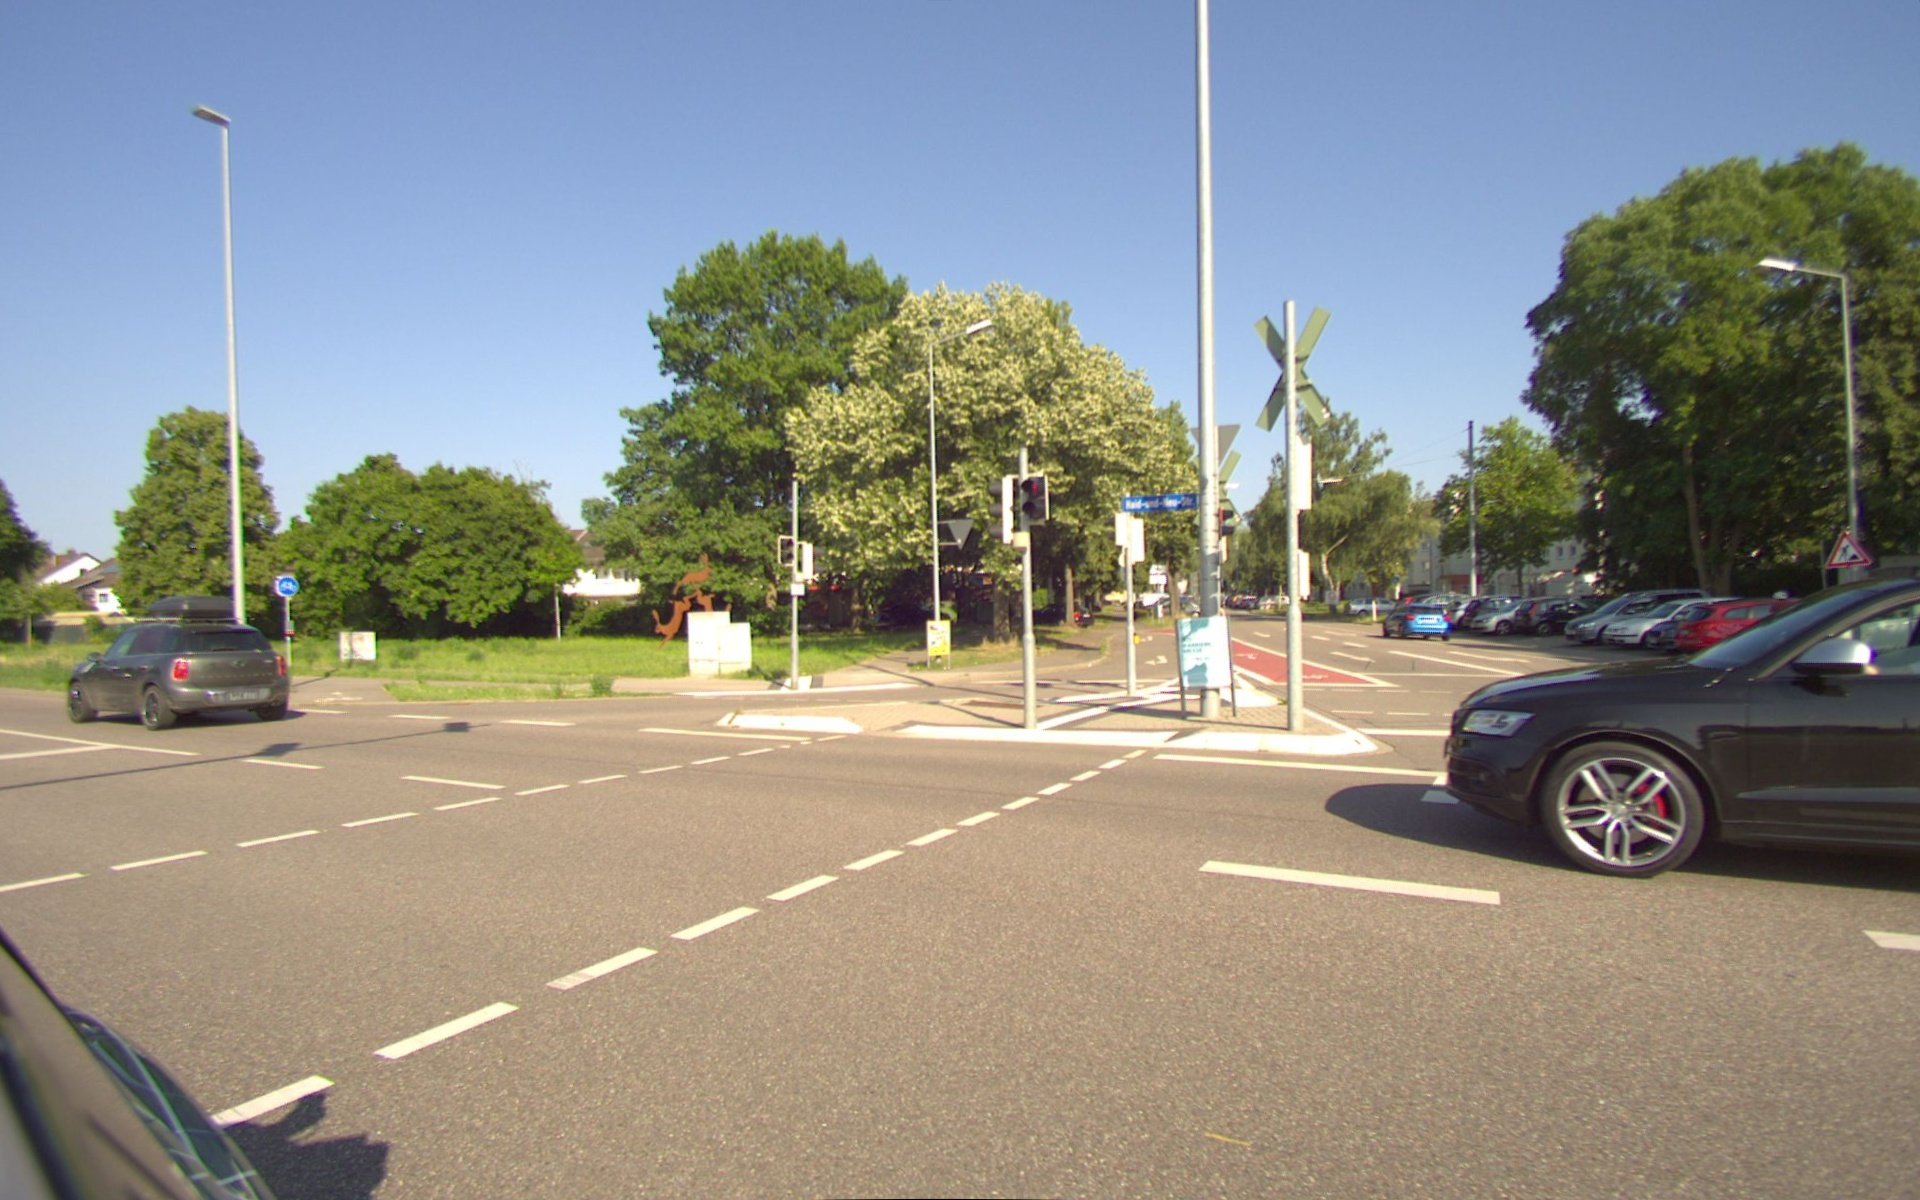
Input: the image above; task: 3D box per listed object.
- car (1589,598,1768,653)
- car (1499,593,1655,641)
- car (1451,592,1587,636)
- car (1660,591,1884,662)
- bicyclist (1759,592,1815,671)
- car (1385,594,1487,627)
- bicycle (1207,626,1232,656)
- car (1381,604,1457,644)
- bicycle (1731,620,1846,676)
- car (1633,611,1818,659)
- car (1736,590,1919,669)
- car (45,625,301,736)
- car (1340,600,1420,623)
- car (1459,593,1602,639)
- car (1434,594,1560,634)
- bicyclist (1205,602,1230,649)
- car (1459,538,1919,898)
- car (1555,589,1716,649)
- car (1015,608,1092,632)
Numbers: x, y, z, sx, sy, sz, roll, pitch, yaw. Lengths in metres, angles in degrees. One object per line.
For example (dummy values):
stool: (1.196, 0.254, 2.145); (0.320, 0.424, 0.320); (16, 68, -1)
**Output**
car: (21.647, 0.749, 30.642); (3.958, 1.532, 1.779); (-2, 0, 12)
car: (24.006, 0.664, 39.510); (4.760, 1.488, 1.780); (-4, -1, 10)
car: (24.360, 0.609, 44.262); (4.761, 1.488, 1.780); (-5, -1, 10)
car: (20.666, 0.679, 25.947); (3.962, 1.426, 1.777); (-5, -1, 14)
bicyclist: (16.806, 0.630, 20.577); (0.601, 1.572, 0.602); (-1, -1, 1)
car: (26.699, 0.606, 56.848); (4.760, 1.488, 1.780); (-4, -1, 10)
bicycle: (8.804, 1.383, 34.374); (0.647, 0.910, 1.804); (-2, 0, 9)
car: (18.029, 0.914, 39.930); (1.766, 1.425, 4.230); (-1, 0, 11)
bicycle: (16.808, 0.944, 20.604); (0.613, 1.048, 2.071); (-1, 0, 1)
car: (21.049, 0.969, 27.977); (3.749, 1.202, 1.459); (-2, 0, 13)
car: (20.294, 0.636, 22.783); (3.960, 1.450, 1.778); (-5, -1, 13)
car: (-12.506, 1.207, 16.049); (3.982, 1.532, 1.777); (-2, -1, 28)
car: (28.642, 0.777, 69.166); (4.767, 1.488, 1.777); (-2, -1, 14)
car: (23.454, 0.659, 41.750); (4.662, 1.488, 1.780); (-5, -1, 10)
car: (24.721, 0.644, 46.736); (4.724, 1.488, 1.780); (-4, -1, 10)
bicyclist: (8.762, 0.867, 34.487); (0.609, 1.535, 0.627); (-3, -1, 0)
car: (5.180, 0.548, 5.435); (4.366, 1.672, 1.976); (-2, -1, 30)
car: (22.161, 0.628, 33.358); (3.958, 1.824, 1.779); (-2, 0, 12)
car: (5.285, 1.146, 57.768); (1.501, 1.330, 4.779); (-1, -1, -38)
